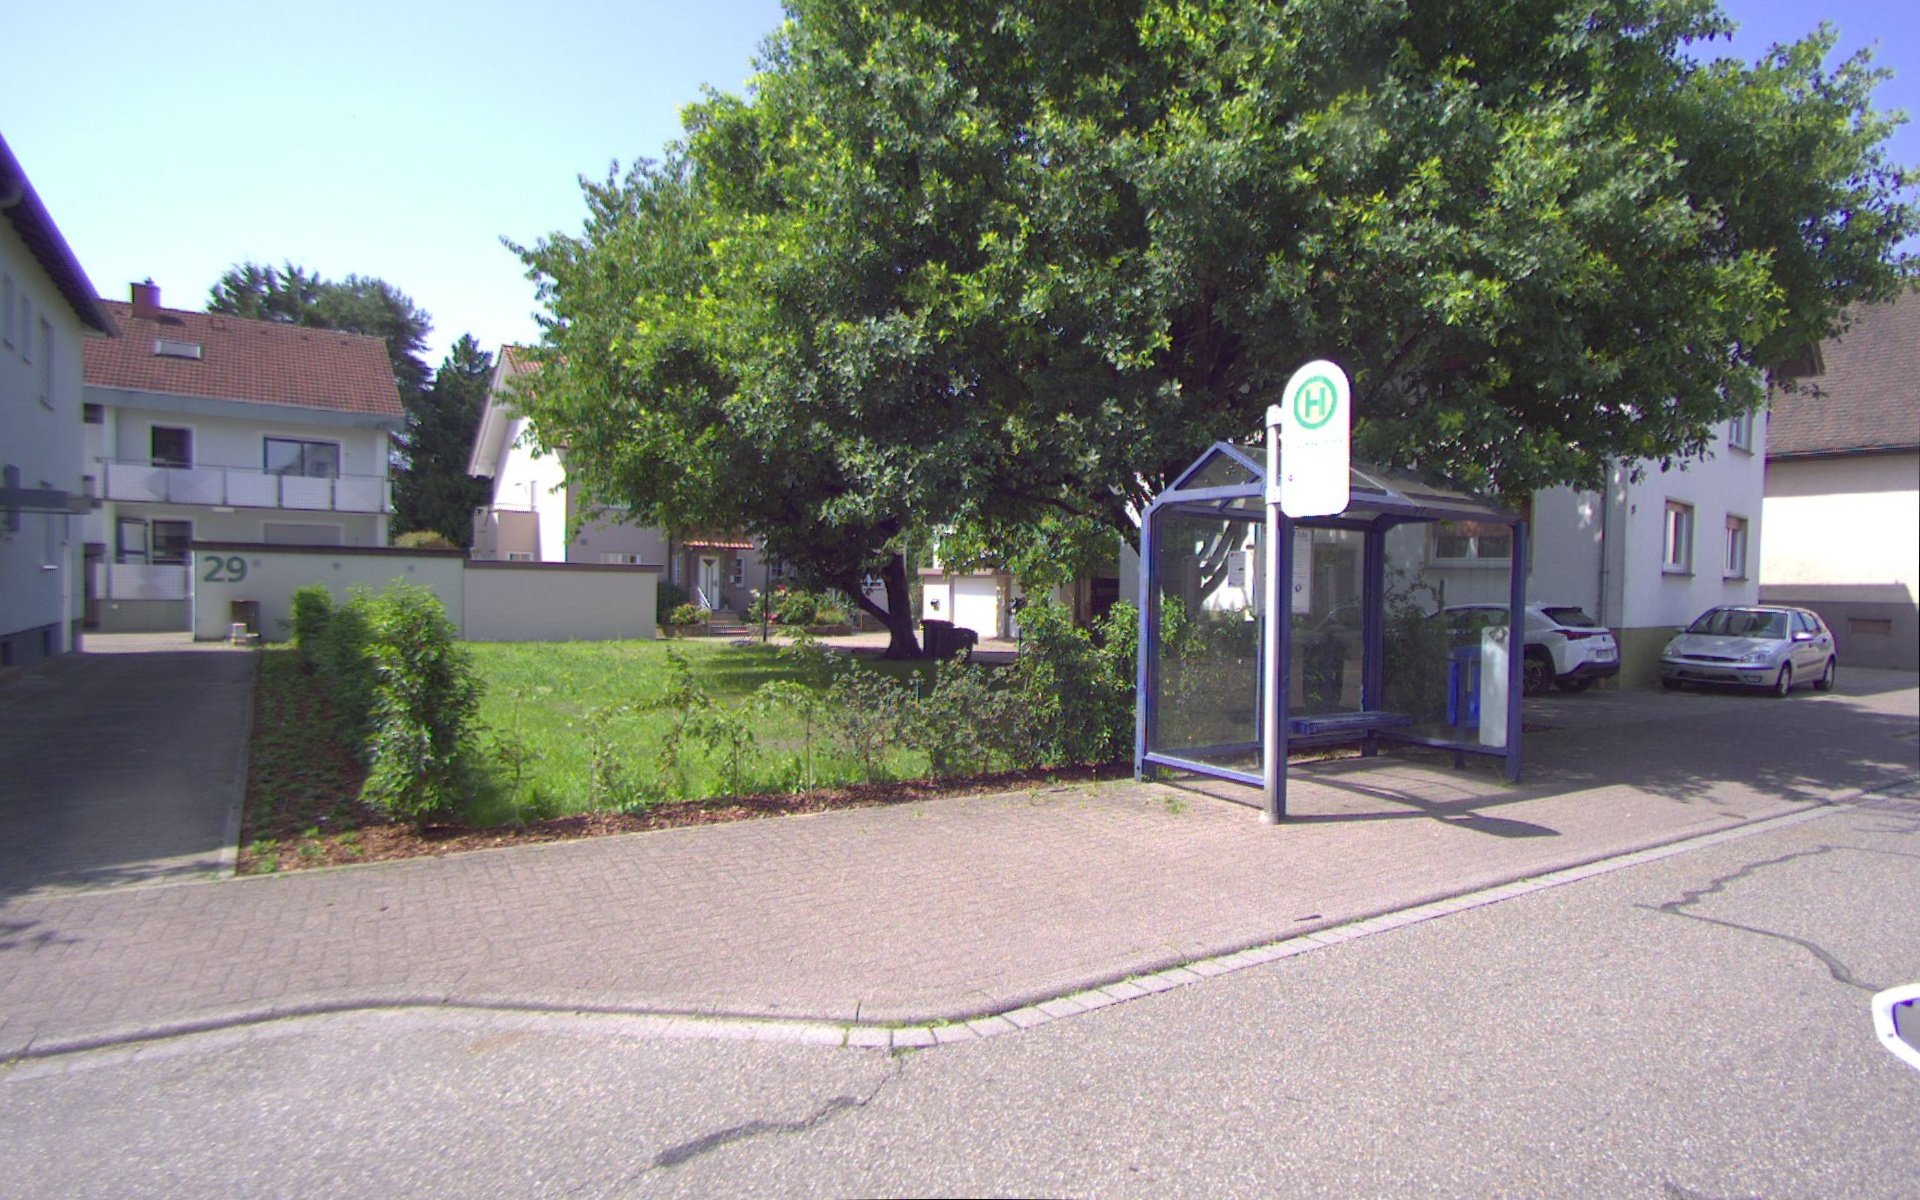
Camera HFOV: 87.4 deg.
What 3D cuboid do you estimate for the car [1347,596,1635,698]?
[{"bbox_3d":[9.119,0.739,17.575,1.755,1.559,4.134,0,0,-34],"label":"car"}]

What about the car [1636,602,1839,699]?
[{"bbox_3d":[13.640,0.792,17.565,4.017,1.454,1.766,0,2,-36],"label":"car"}]
